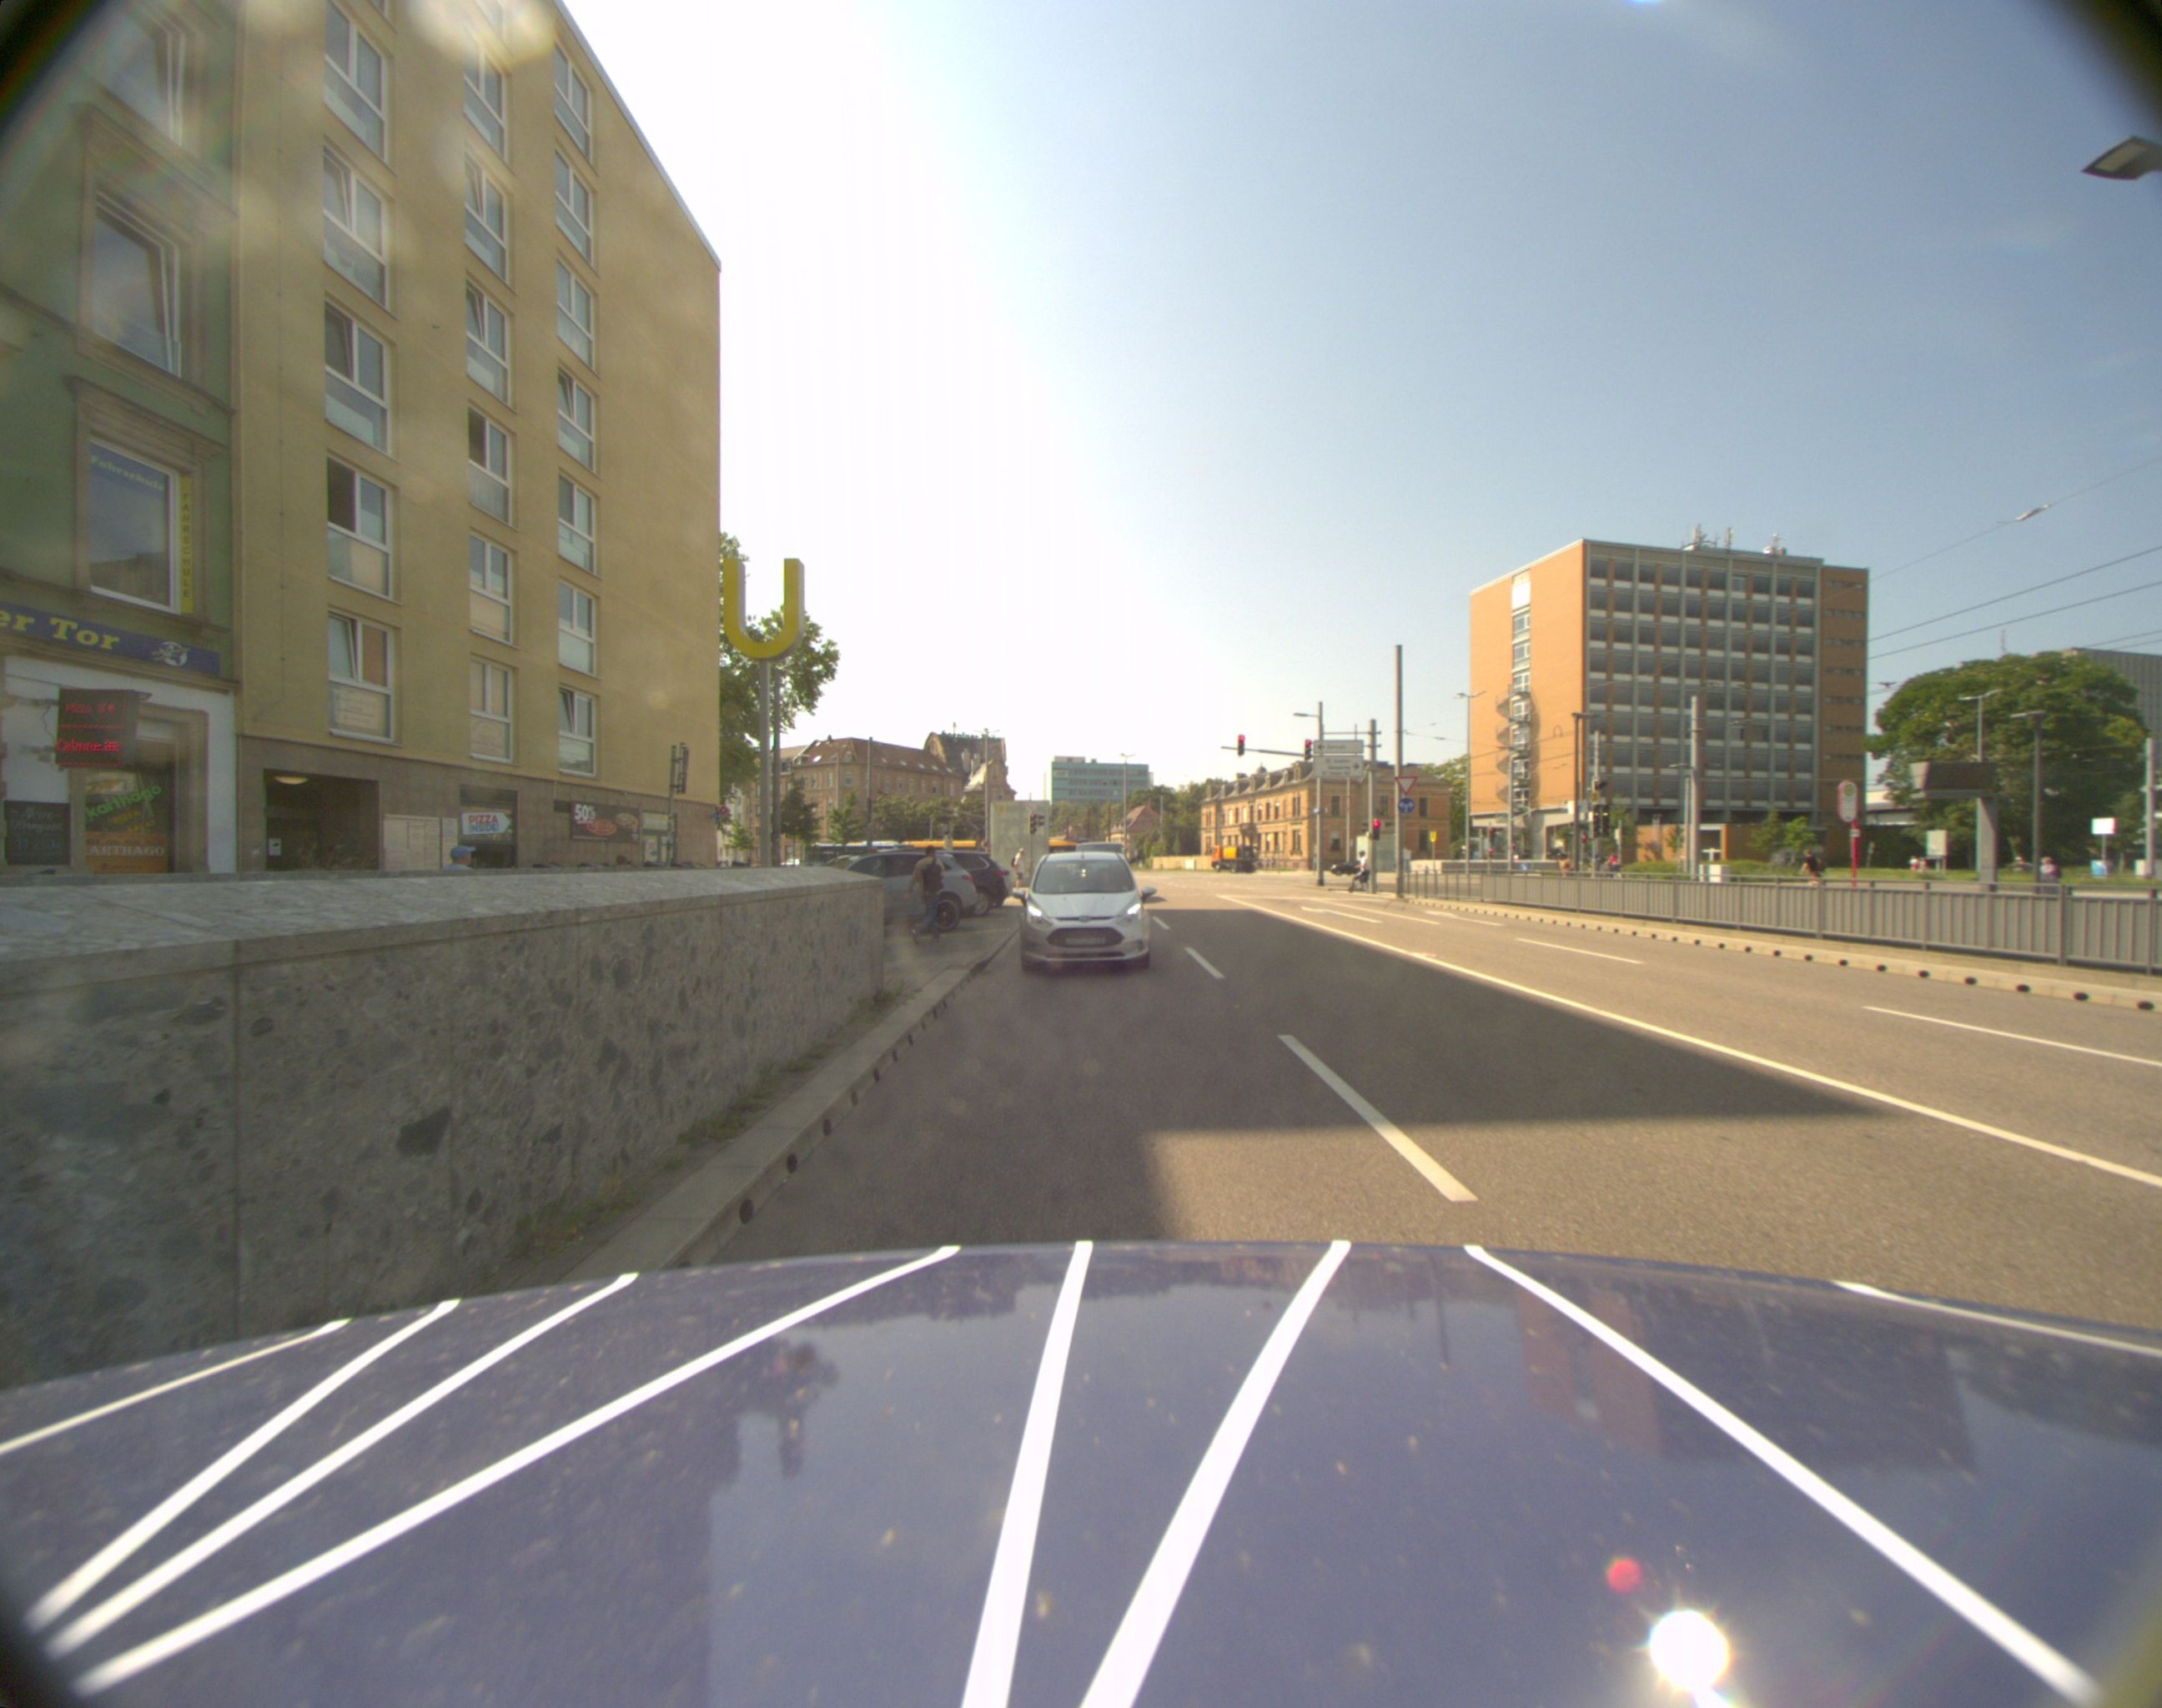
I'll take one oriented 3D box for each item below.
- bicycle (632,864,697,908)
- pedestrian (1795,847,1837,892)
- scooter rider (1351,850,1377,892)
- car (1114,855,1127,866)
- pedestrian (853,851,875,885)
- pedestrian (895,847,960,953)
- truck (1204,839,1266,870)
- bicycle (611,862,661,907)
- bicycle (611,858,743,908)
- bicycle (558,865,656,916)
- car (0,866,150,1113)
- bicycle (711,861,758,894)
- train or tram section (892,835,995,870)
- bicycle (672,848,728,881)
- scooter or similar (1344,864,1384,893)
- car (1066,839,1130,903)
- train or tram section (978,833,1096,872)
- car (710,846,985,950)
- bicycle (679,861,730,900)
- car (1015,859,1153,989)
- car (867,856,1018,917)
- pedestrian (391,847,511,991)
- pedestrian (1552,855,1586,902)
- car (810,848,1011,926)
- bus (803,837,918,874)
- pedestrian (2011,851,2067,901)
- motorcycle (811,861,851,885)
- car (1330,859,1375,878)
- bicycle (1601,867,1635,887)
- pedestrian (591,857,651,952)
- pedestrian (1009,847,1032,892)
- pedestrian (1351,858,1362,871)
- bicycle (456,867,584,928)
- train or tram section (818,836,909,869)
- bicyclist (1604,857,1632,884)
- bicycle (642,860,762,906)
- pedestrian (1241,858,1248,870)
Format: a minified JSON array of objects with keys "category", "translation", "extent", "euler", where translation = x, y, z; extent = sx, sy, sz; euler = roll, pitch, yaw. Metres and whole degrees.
[{"category":"bicycle","translation":[-12.071,0.904,22.047],"extent":[0.590,1.231,1.548],"euler":[0,0,33]},{"category":"pedestrian","translation":[30.026,0.622,31.056],"extent":[0.785,1.770,0.959],"euler":[0,2,3]},{"category":"scooter rider","translation":[11.526,0.691,30.954],"extent":[0.773,1.663,0.779],"euler":[0,1,-1]},{"category":"car","translation":[7.589,1.287,145.822],"extent":[1.999,2.001,3.999],"euler":[0,-2,-5]},{"category":"pedestrian","translation":[-10.551,0.680,36.957],"extent":[0.793,1.600,0.949],"euler":[1,1,-3]},{"category":"pedestrian","translation":[-2.657,0.780,13.220],"extent":[0.868,1.741,0.873],"euler":[-3,-1,-1]},{"category":"truck","translation":[17.121,0.180,84.992],"extent":[3.047,3.209,7.177],"euler":[1,-2,-27]},{"category":"bicycle","translation":[-12.795,0.857,21.905],"extent":[0.409,1.231,1.827],"euler":[0,0,-2]},{"category":"bicycle","translation":[-11.894,0.821,22.461],"extent":[3.370,1.396,0.901],"euler":[0,0,-36]},{"category":"bicycle","translation":[-12.315,0.907,19.865],"extent":[0.941,1.231,2.423],"euler":[0,0,4]},{"category":"car","translation":[-7.110,0.772,3.314],"extent":[1.635,1.432,3.620],"euler":[0,-1,0]},{"category":"bicycle","translation":[-14.072,0.933,30.924],"extent":[0.794,1.231,2.435],"euler":[0,0,0]},{"category":"train or tram section","translation":[-14.672,-0.160,80.226],"extent":[12.182,3.539,2.601],"euler":[0,0,33]},{"category":"bicycle","translation":[-13.911,0.390,27.765],"extent":[1.727,1.199,0.589],"euler":[0,0,-6]},{"category":"scooter or similar","translation":[11.515,0.992,30.939],"extent":[1.341,1.142,0.709],"euler":[0,0,0]},{"category":"car","translation":[0.606,0.512,25.345],"extent":[1.899,1.919,4.886],"euler":[0,0,2]},{"category":"train or tram section","translation":[-4.443,-0.114,73.621],"extent":[12.182,3.539,2.601],"euler":[0,0,33]},{"category":"car","translation":[-4.381,0.728,14.739],"extent":[4.675,1.703,2.038],"euler":[0,0,-41]},{"category":"bicycle","translation":[-12.498,0.855,25.261],"extent":[0.729,1.239,1.960],"euler":[0,0,0]},{"category":"car","translation":[-0.001,0.875,11.508],"extent":[1.692,1.585,4.360],"euler":[0,0,-1]},{"category":"car","translation":[-3.914,0.889,21.776],"extent":[3.793,1.491,1.802],"euler":[-2,0,-40]},{"category":"pedestrian","translation":[-7.671,0.758,9.297],"extent":[0.672,1.675,0.943],"euler":[1,0,0]},{"category":"pedestrian","translation":[17.114,0.860,26.643],"extent":[0.574,1.648,0.800],"euler":[0,-2,-18]},{"category":"car","translation":[-4.102,0.716,18.647],"extent":[4.402,1.677,1.981],"euler":[0,0,-41]},{"category":"bus","translation":[-19.673,0.168,67.278],"extent":[12.047,3.046,2.740],"euler":[0,0,34]},{"category":"pedestrian","translation":[34.678,0.789,27.513],"extent":[0.785,1.770,0.959],"euler":[0,2,3]},{"category":"motorcycle","translation":[-12.447,0.934,37.864],"extent":[0.911,1.130,2.114],"euler":[0,0,13]},{"category":"car","translation":[25.869,1.395,72.483],"extent":[3.991,1.783,2.004],"euler":[-1,-2,20]},{"category":"bicycle","translation":[29.177,1.229,41.297],"extent":[0.614,1.063,1.914],"euler":[0,0,4]},{"category":"pedestrian","translation":[-8.084,0.856,13.344],"extent":[0.854,1.573,0.968],"euler":[-1,1,-33]},{"category":"pedestrian","translation":[-2.476,0.637,31.049],"extent":[0.821,1.797,0.814],"euler":[-1,1,1]},{"category":"pedestrian","translation":[29.243,1.146,80.677],"extent":[0.847,1.386,0.787],"euler":[0,0,3]},{"category":"bicycle","translation":[-12.418,0.919,16.947],"extent":[0.941,1.231,2.423],"euler":[0,0,4]},{"category":"train or tram section","translation":[-24.968,-0.202,86.727],"extent":[12.182,3.539,2.601],"euler":[0,0,33]},{"category":"bicyclist","translation":[29.168,0.897,41.299],"extent":[0.877,1.451,0.980],"euler":[0,0,4]},{"category":"bicycle","translation":[-12.195,0.888,24.562],"extent":[3.370,1.396,0.901],"euler":[0,0,-36]},{"category":"pedestrian","translation":[19.193,1.191,89.210],"extent":[0.815,1.343,0.720],"euler":[0,0,8]}]
